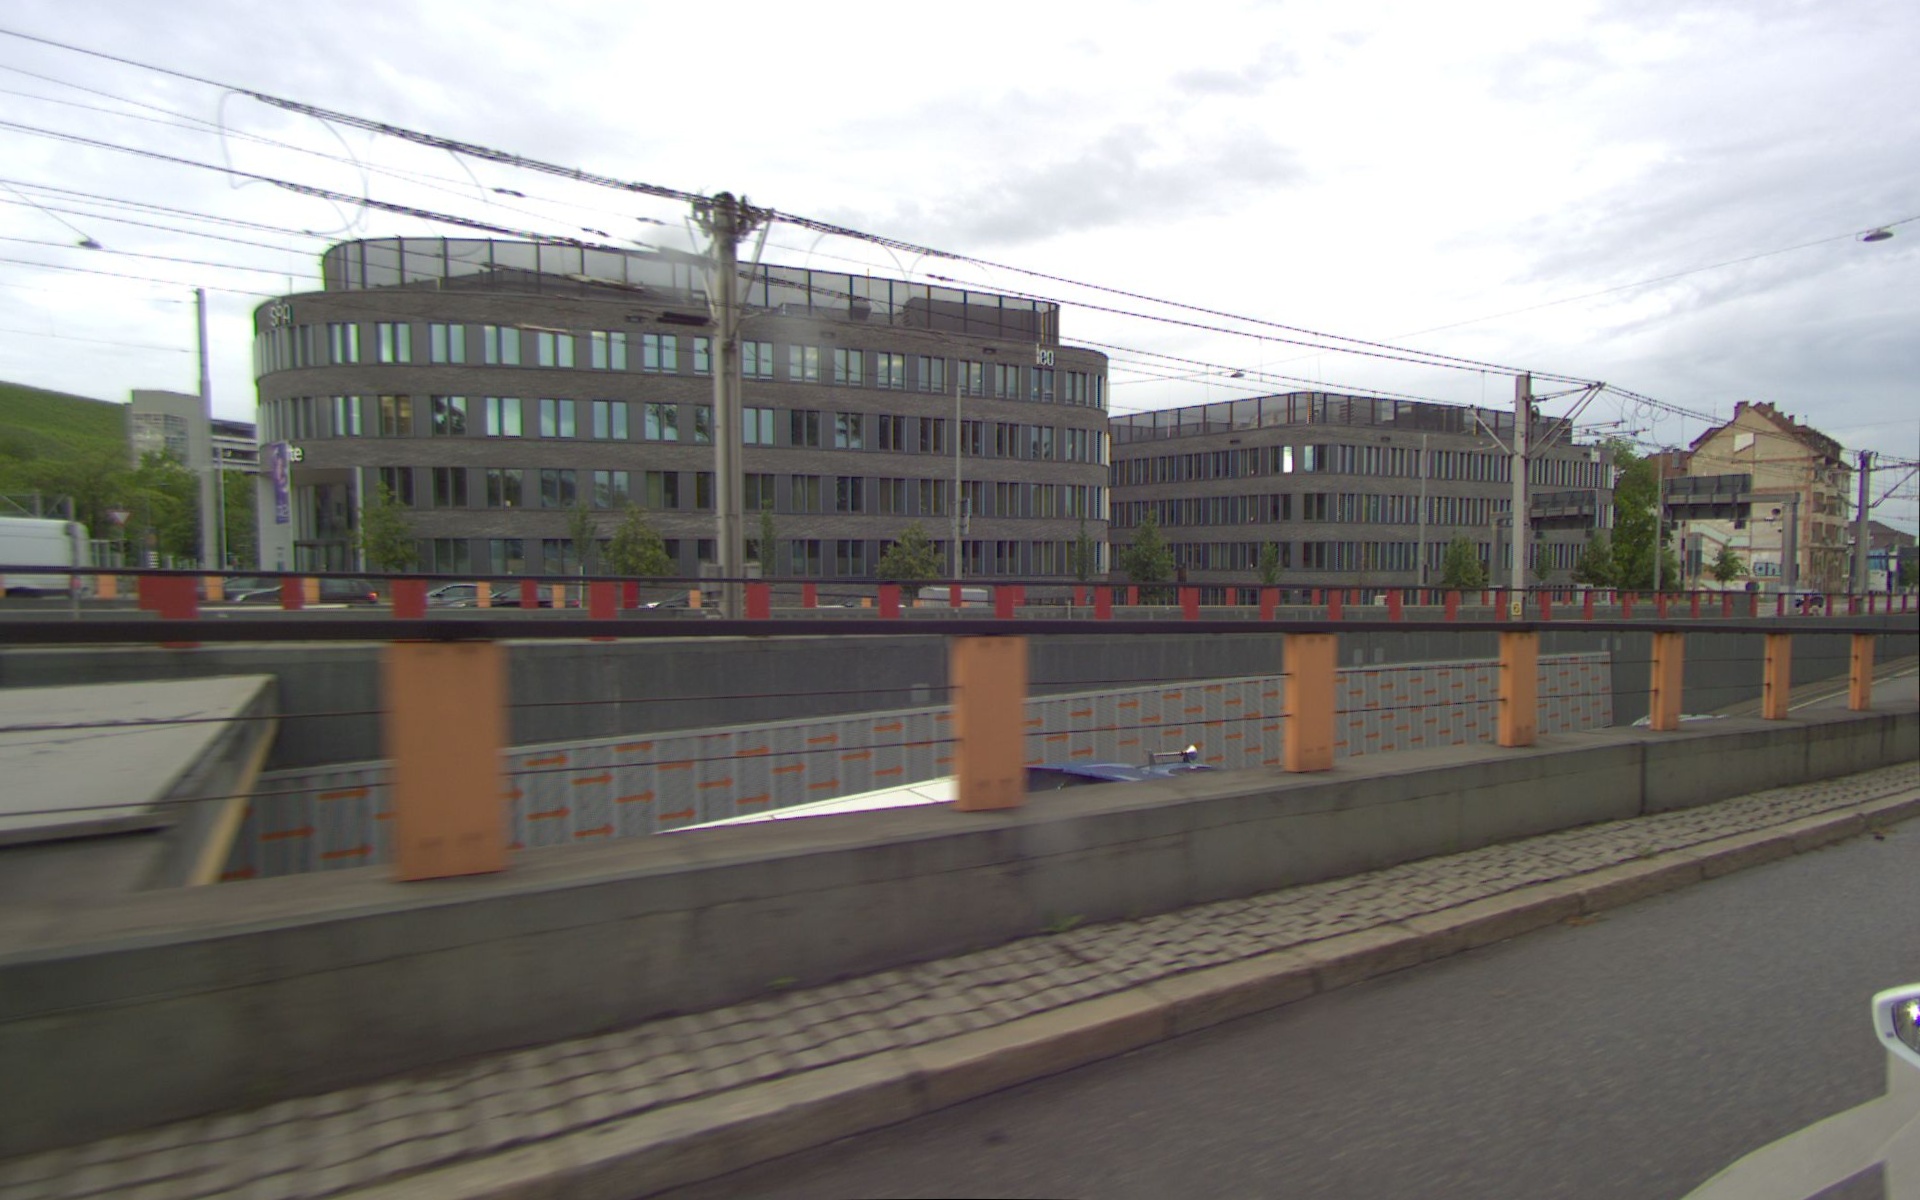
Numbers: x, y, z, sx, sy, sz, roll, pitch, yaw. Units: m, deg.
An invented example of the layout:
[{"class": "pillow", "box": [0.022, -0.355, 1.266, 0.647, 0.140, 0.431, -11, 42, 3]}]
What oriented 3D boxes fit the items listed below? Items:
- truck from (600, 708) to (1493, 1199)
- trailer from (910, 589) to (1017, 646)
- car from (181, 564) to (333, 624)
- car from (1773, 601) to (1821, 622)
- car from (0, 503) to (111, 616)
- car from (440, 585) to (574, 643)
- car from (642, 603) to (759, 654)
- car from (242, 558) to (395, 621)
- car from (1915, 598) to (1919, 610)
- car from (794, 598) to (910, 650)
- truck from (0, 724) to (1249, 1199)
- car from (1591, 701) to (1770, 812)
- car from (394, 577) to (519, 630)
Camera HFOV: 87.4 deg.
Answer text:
[{"class": "truck", "box": [0.987, 3.266, 7.808, 6.712, 4.253, 2.746, 0, 0, -34]}, {"class": "trailer", "box": [0.170, 0.771, 43.449, 4.231, 2.101, 1.814, 5, -1, -34]}, {"class": "car", "box": [-22.660, -0.176, 32.575, 3.788, 1.605, 1.816, 5, -1, -31]}, {"class": "car", "box": [67.095, 0.930, 80.490, 3.786, 1.606, 1.816, 0, 1, -31]}, {"class": "car", "box": [-26.229, -1.104, 26.390, 5.655, 2.869, 1.982, 2, -2, -33]}, {"class": "car", "box": [-15.046, 0.474, 33.392, 3.788, 1.605, 1.816, 5, -1, -31]}, {"class": "car", "box": [-9.587, 1.055, 37.163, 3.788, 1.605, 1.816, 5, -1, -31]}, {"class": "car", "box": [-19.717, -0.291, 31.061, 3.788, 1.605, 1.816, 5, -1, -31]}, {"class": "car", "box": [136.173, 0.551, 141.604, 3.797, 1.606, 1.811, -1, 2, -39]}, {"class": "car", "box": [-4.332, 0.977, 40.457, 4.231, 1.772, 1.814, 5, -1, -34]}, {"class": "truck", "box": [-4.136, 3.209, 4.394, 12.893, 4.253, 2.745, 0, 0, -34]}, {"class": "car", "box": [15.487, 3.255, 21.547, 4.049, 1.586, 1.810, -4, 1, -34]}, {"class": "car", "box": [-17.807, 0.122, 35.531, 3.787, 1.606, 1.816, 3, 2, -31]}]
